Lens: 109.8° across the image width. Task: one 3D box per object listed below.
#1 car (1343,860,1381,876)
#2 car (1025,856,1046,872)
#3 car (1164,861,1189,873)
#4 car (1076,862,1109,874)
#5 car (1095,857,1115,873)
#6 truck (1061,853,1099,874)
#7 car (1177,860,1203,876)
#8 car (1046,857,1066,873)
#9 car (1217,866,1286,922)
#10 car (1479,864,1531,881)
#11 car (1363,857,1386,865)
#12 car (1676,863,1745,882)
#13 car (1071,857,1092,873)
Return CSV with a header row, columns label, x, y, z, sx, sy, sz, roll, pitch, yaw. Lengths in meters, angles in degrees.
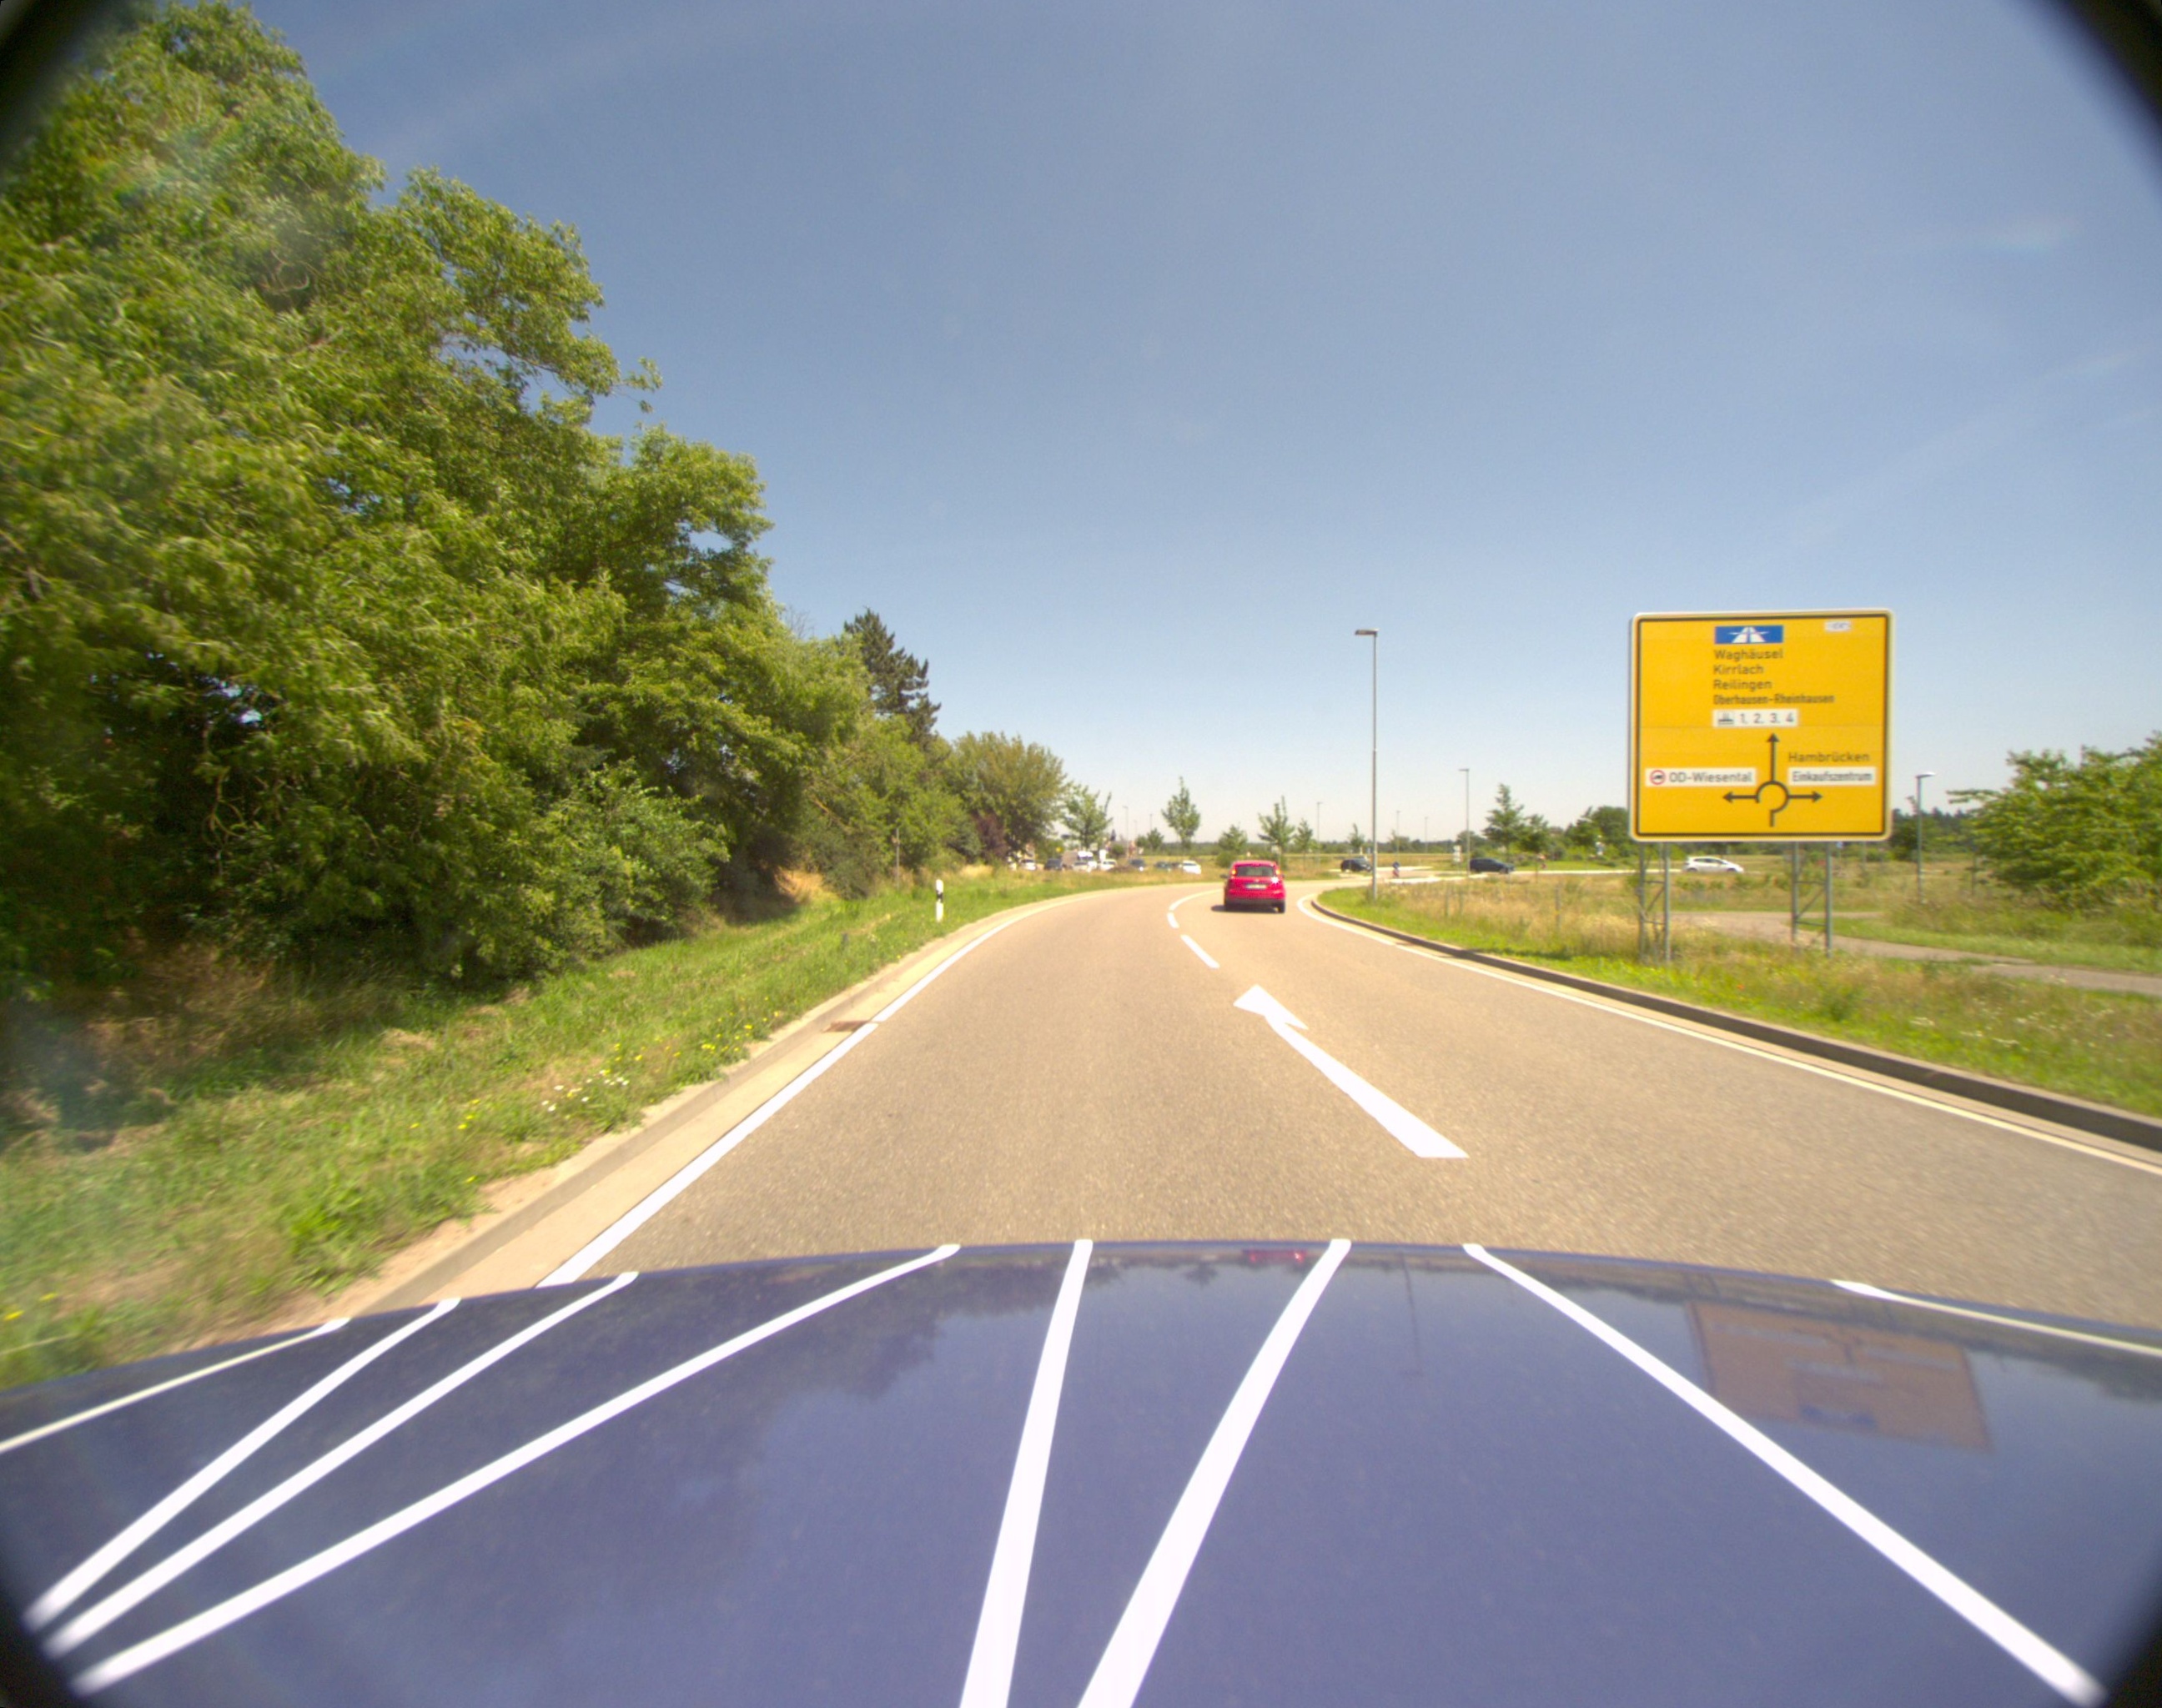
label,x,y,z,sx,sy,sz,roll,pitch,yaw
car,33.890,1.651,91.793,1.871,1.812,4.513,-1,1,-17
car,-4.268,0.933,71.969,1.773,1.434,3.967,0,-1,-1
car,10.327,1.399,82.180,1.747,1.303,3.997,0,0,-7
car,1.422,1.774,95.585,3.988,1.385,1.654,0,0,41
car,2.234,1.069,71.901,1.773,1.434,3.967,0,-1,-1
truck,-0.160,1.089,91.875,2.240,2.491,5.623,0,0,-28
car,10.357,1.338,72.340,1.746,1.419,3.999,0,0,-3
car,-2.348,1.018,71.334,1.773,1.434,3.967,0,-1,-1
car,4.937,1.103,22.359,1.658,1.425,3.738,1,0,8
car,41.733,1.799,74.792,4.139,1.553,1.725,0,1,45
car,57.220,1.345,148.296,2.002,1.477,3.993,1,0,-20
car,54.810,1.616,66.257,4.508,1.553,1.873,0,1,34
car,0.018,1.050,70.889,1.773,1.434,3.967,0,-1,-2
